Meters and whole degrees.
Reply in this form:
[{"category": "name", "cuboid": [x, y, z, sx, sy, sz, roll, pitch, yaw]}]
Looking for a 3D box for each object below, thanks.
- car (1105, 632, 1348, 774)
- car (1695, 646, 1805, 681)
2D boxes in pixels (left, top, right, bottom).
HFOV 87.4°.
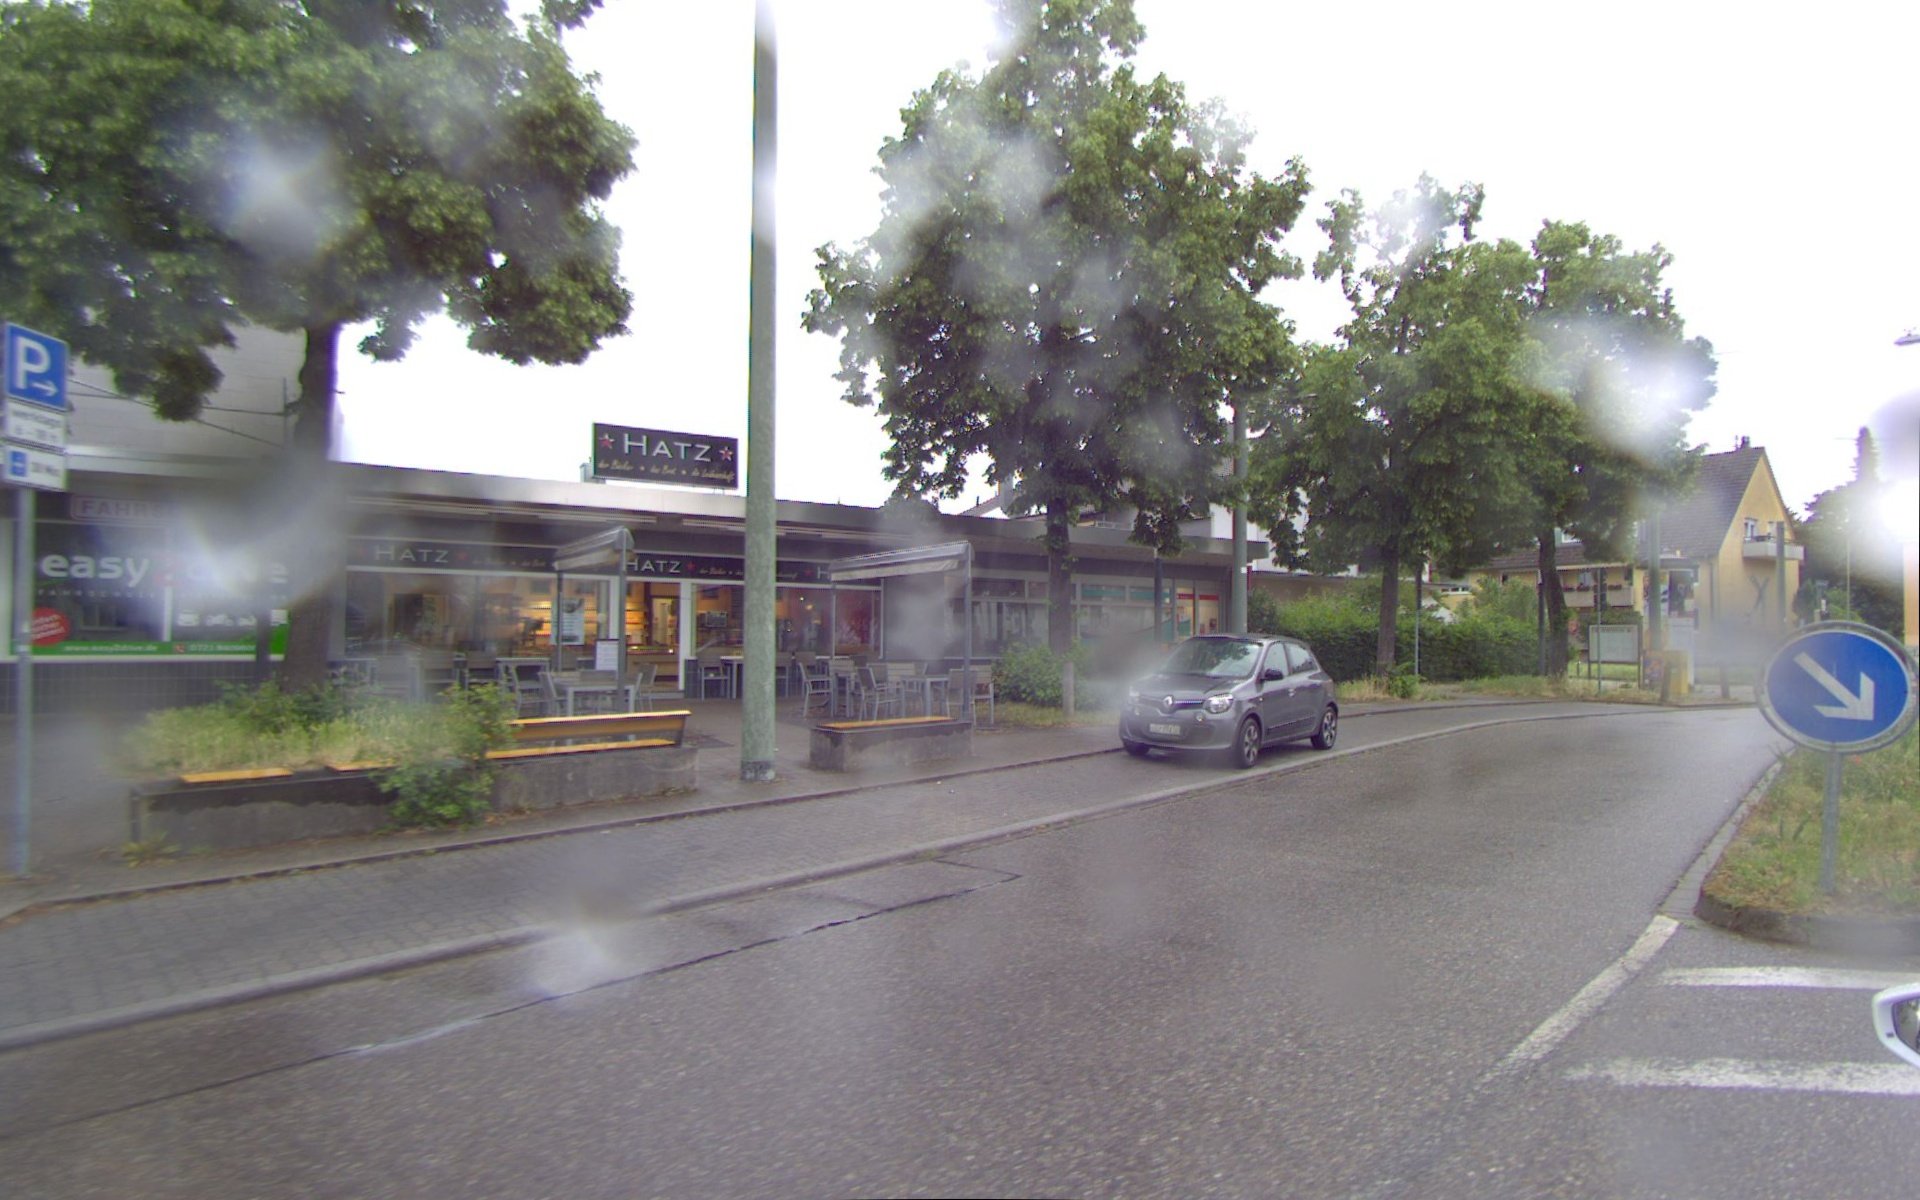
[{"category": "car", "cuboid": [3.572, 1.216, 13.088, 1.599, 1.516, 3.649, 2, -1, 41]}, {"category": "car", "cuboid": [39.407, 3.137, 50.180, 1.815, 1.476, 3.961, 2, -1, -35]}]
